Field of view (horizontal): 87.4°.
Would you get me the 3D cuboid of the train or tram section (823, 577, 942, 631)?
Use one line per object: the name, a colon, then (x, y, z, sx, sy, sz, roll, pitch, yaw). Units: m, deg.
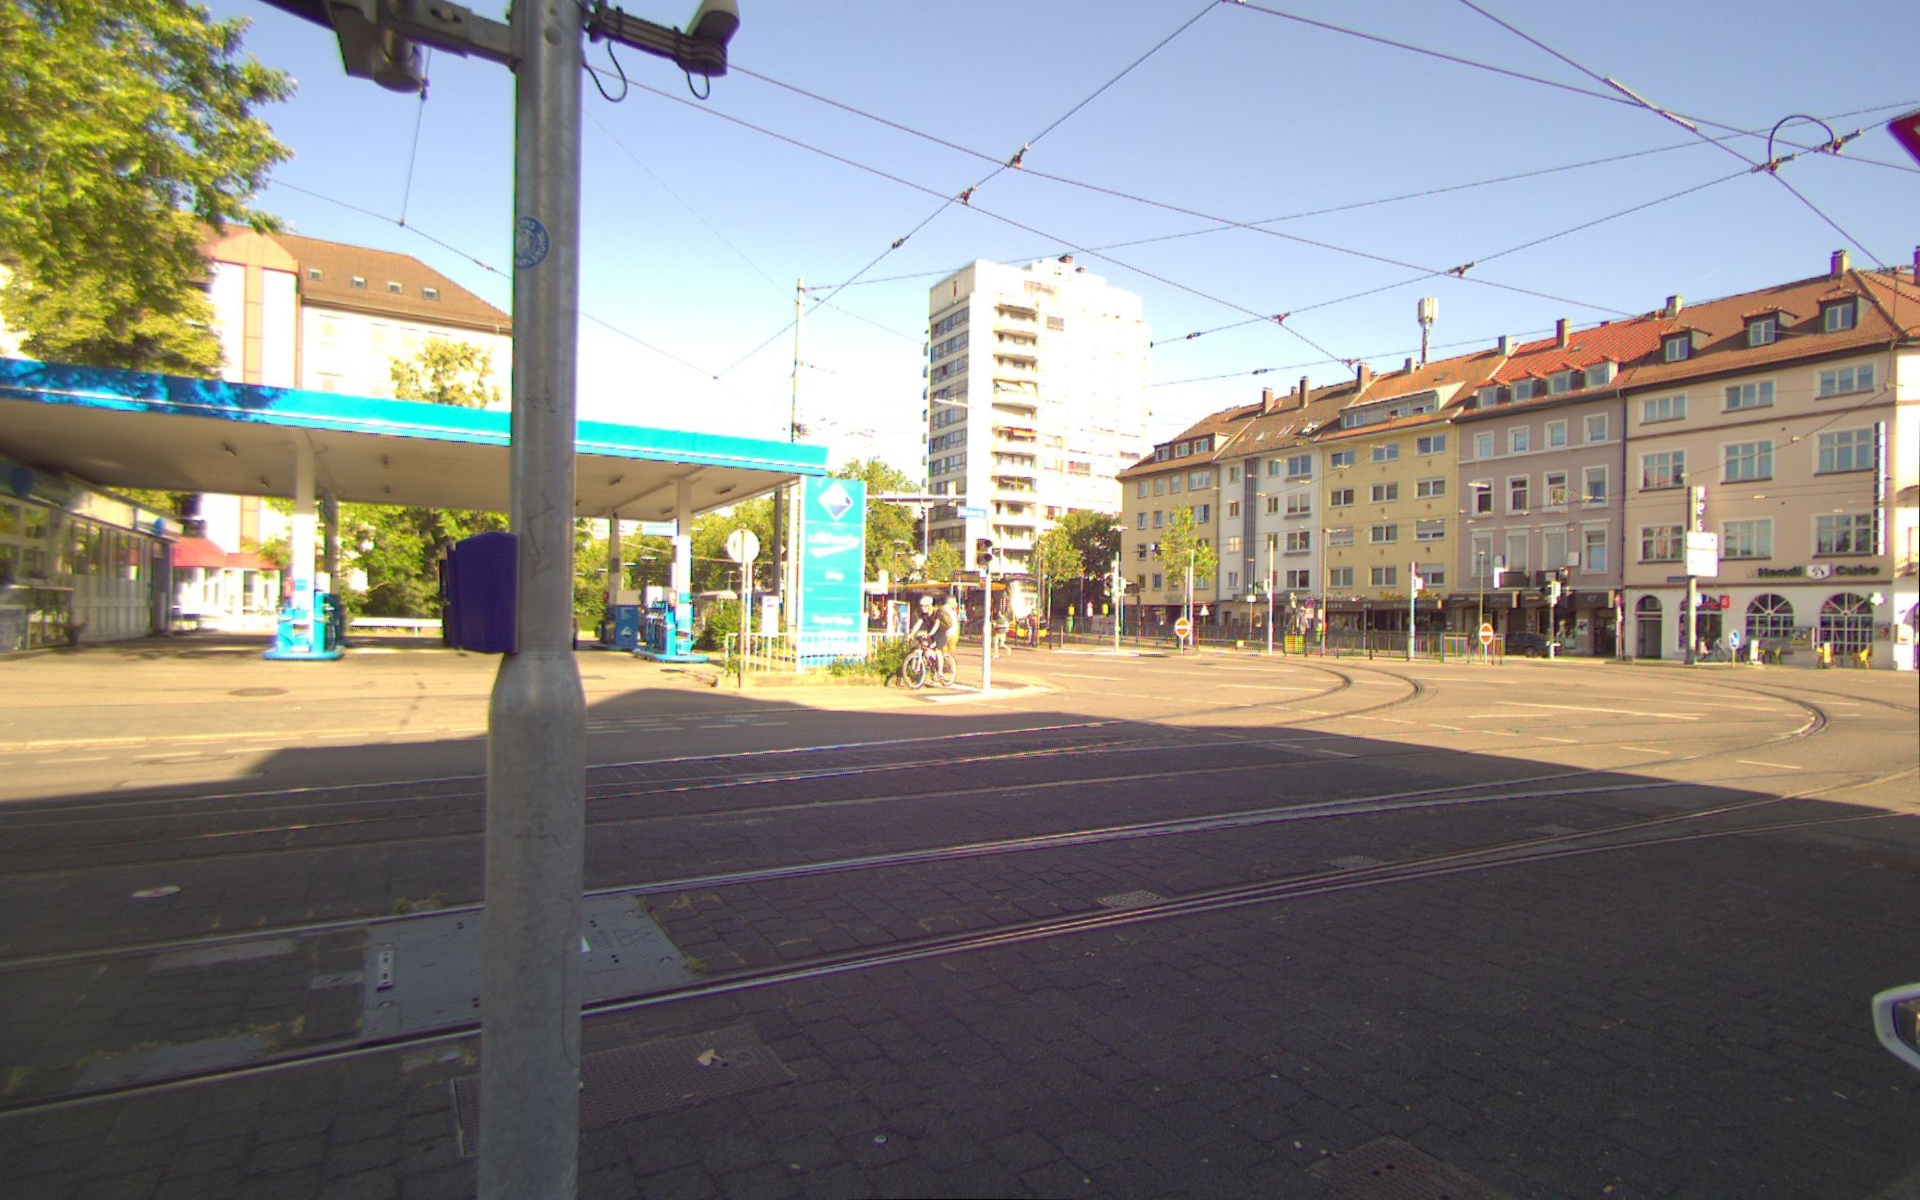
train or tram section: (-5.514, 0.206, 68.028, 2.751, 3.273, 12.286, 2, 0, -31)

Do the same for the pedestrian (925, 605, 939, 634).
pedestrian: (-1.556, 1.074, 56.145, 0.580, 1.613, 0.520, 2, 0, -31)

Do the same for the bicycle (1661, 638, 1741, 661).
bicycle: (37.491, 2.499, 50.893, 0.989, 0.993, 3.115, 2, 0, -29)

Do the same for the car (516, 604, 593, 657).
car: (-12.142, 0.876, 29.967, 1.764, 1.411, 3.455, 2, 0, -28)

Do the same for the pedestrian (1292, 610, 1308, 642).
pedestrian: (17.967, 1.388, 53.043, 0.570, 1.649, 0.522, 2, 0, -31)

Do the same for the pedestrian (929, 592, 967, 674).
pedestrian: (-0.289, 0.784, 23.848, 0.778, 1.893, 0.674, 2, 0, 6)

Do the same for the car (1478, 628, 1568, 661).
car: (30.846, 2.425, 55.138, 1.970, 1.692, 3.981, 1, -1, -21)

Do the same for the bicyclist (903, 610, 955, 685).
bicyclist: (-0.597, 0.897, 19.205, 0.797, 1.384, 0.553, 2, 0, -43)

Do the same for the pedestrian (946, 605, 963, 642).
pedestrian: (-0.279, 1.254, 53.302, 0.666, 1.913, 0.520, 2, 0, -31)

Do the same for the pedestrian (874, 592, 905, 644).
pedestrian: (-2.271, 0.574, 32.351, 0.675, 1.656, 0.694, 2, 0, -35)

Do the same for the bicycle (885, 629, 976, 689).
bicycle: (-0.549, 1.109, 19.302, 1.782, 1.084, 0.567, 2, 0, -43)

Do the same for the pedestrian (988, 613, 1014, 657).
pedestrian: (1.521, 1.293, 37.580, 0.692, 1.608, 0.822, 1, -1, 25)

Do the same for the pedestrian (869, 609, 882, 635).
pedestrian: (-5.281, 1.400, 62.806, 0.580, 1.613, 0.520, 2, 0, -31)

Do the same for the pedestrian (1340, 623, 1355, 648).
pedestrian: (26.683, 2.460, 69.183, 0.693, 1.656, 0.629, 2, 0, -33)

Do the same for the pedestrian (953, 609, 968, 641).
pedestrian: (0.032, 1.290, 51.889, 0.580, 1.613, 0.520, 2, 0, -31)

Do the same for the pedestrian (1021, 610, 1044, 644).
pedestrian: (3.307, 1.227, 45.906, 0.814, 1.532, 0.699, 1, -1, -33)

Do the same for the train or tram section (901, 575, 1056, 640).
train or tram section: (0.727, 0.341, 57.551, 2.751, 3.273, 12.286, 2, 0, -31)
